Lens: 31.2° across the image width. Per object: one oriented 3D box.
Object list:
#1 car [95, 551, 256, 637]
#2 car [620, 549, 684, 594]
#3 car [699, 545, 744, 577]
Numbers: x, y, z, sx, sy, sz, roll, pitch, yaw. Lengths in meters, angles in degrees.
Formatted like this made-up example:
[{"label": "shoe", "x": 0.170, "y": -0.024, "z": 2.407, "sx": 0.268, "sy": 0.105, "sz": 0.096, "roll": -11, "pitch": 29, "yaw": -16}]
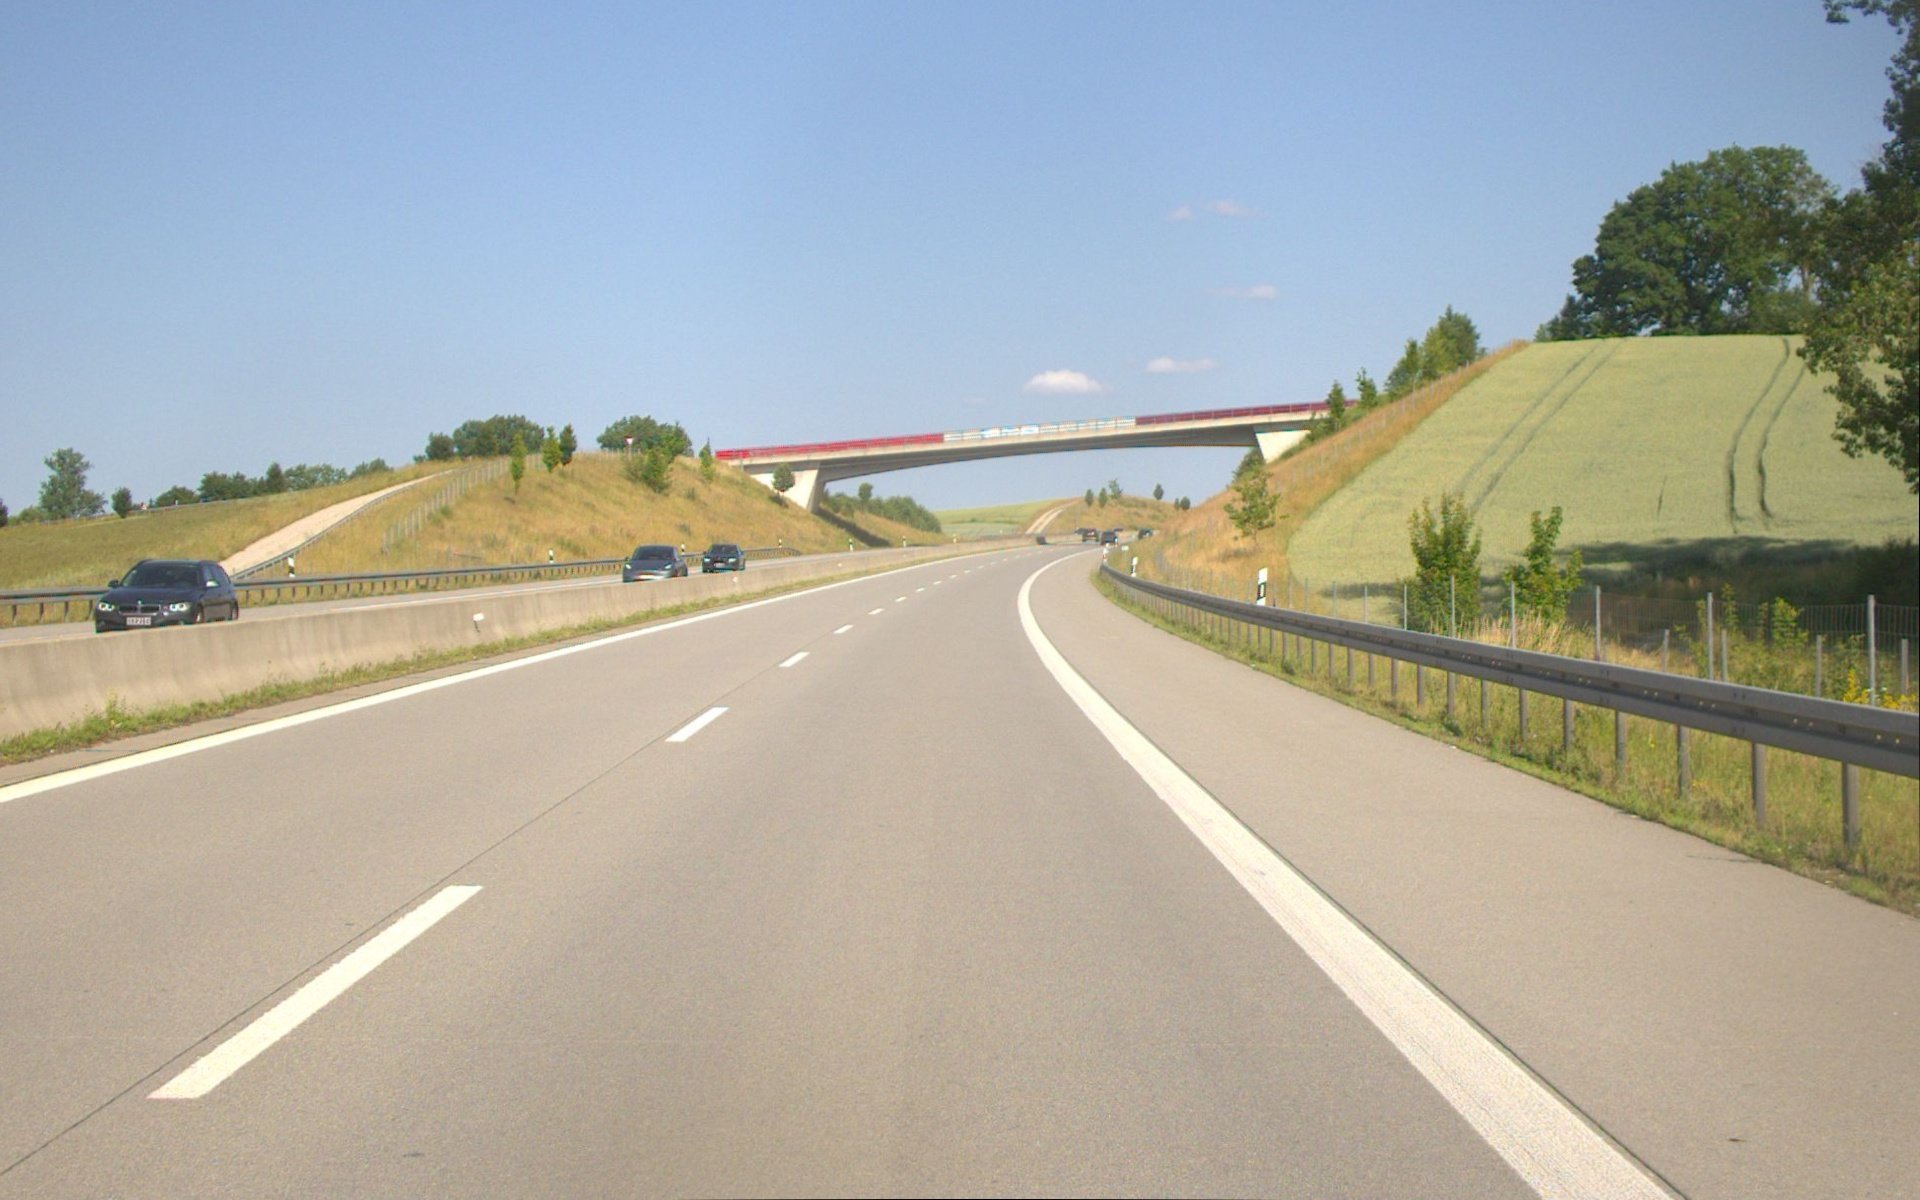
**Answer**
[{"label": "car", "x": -13.982, "y": -0.113, "z": 61.515, "sx": 1.813, "sy": 1.451, "sz": 4.512, "roll": 1, "pitch": 0, "yaw": 0}, {"label": "car", "x": -11.334, "y": -1.035, "z": 126.709, "sx": 1.813, "sy": 1.609, "sz": 4.676, "roll": 1, "pitch": 0, "yaw": 2}, {"label": "car", "x": -12.250, "y": -1.987, "z": 176.653, "sx": 1.813, "sy": 1.609, "sz": 4.676, "roll": 1, "pitch": 0, "yaw": 2}]
